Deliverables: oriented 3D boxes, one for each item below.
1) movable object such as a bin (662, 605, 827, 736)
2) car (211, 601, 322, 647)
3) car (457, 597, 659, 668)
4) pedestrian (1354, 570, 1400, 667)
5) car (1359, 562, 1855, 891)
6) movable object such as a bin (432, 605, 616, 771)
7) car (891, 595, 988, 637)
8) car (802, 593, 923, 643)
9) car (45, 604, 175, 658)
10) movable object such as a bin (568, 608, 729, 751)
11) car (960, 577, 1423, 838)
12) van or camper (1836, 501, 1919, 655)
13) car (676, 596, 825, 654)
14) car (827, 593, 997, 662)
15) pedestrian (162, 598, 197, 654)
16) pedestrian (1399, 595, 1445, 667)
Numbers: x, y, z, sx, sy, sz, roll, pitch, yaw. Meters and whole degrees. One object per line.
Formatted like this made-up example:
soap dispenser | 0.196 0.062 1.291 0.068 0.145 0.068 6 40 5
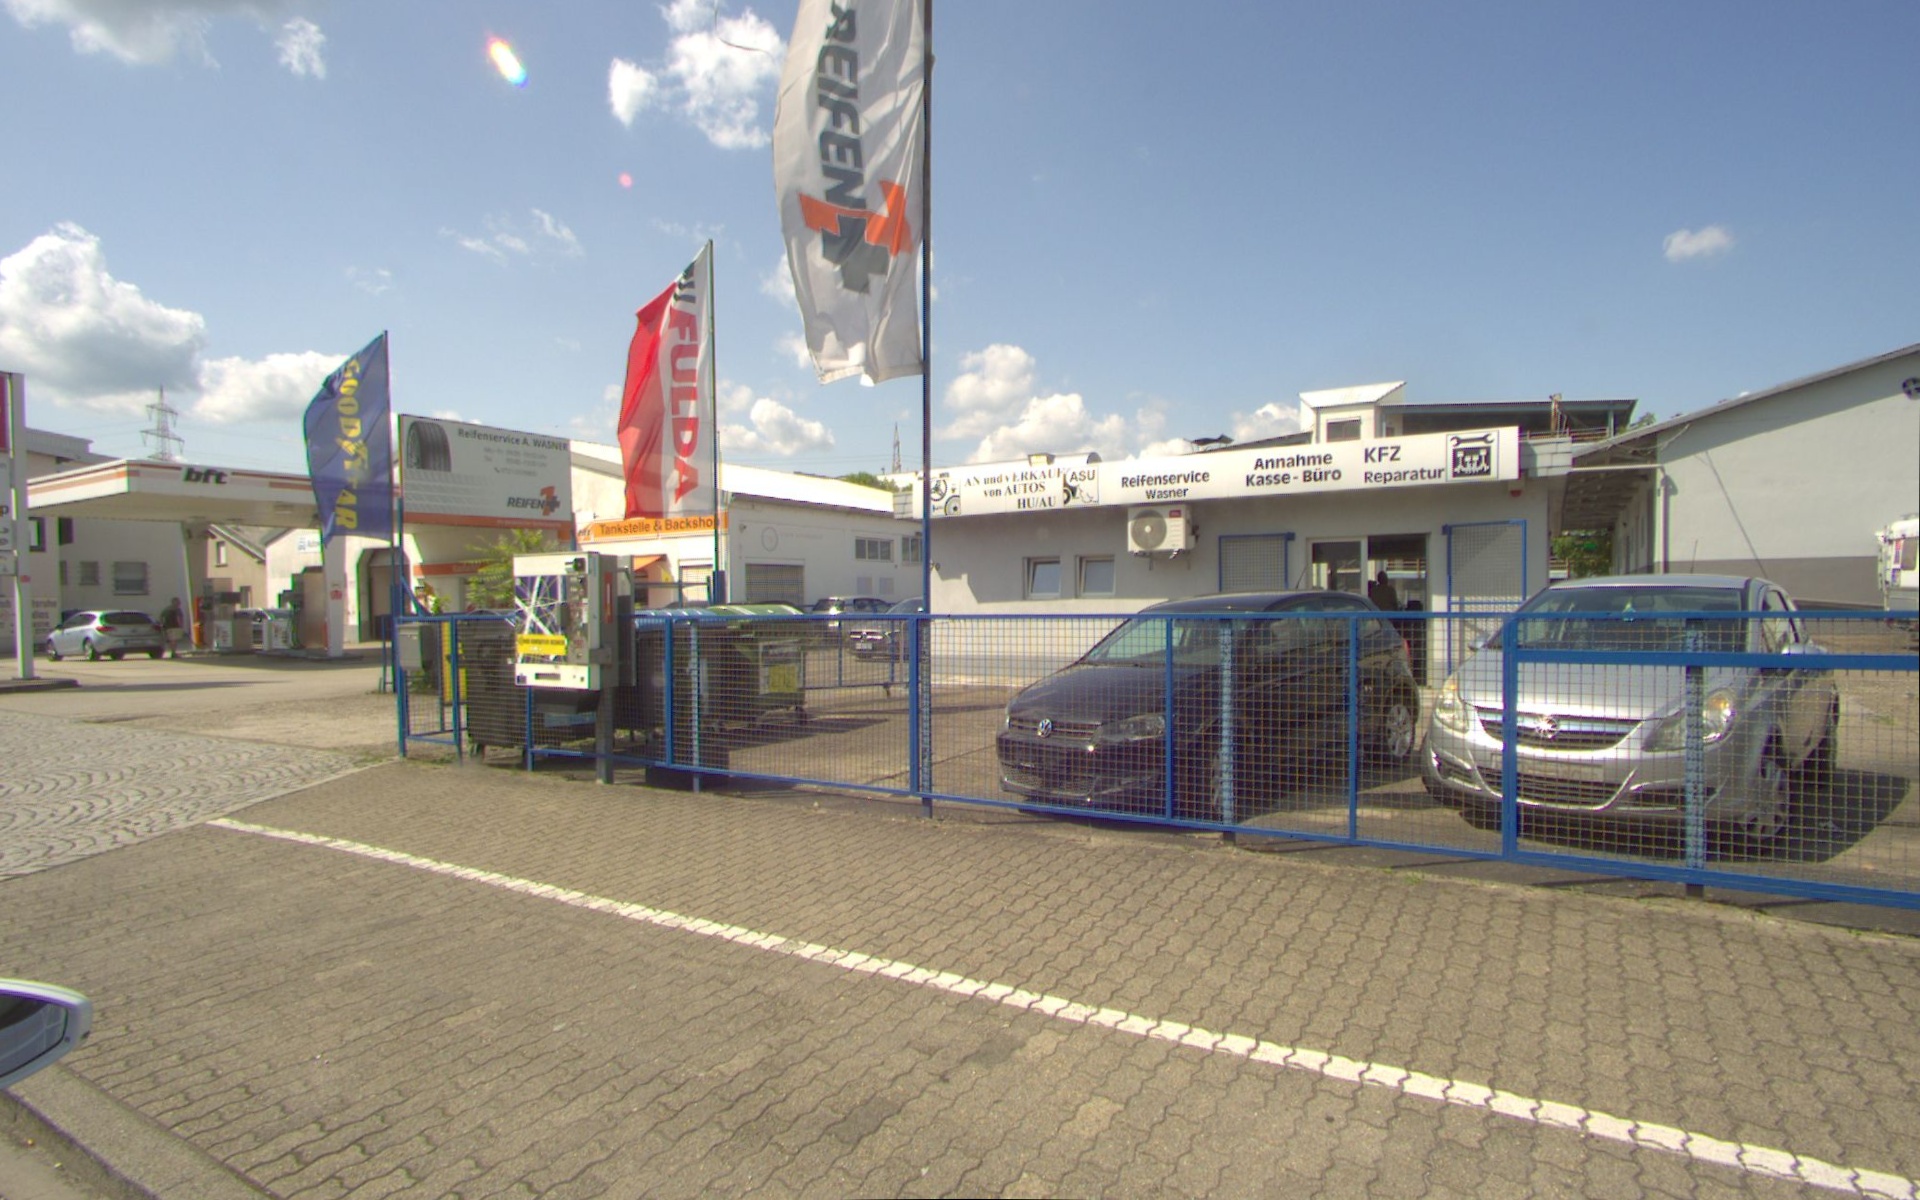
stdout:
movable object such as a bin | -2.538 0.780 11.904 1.318 1.414 1.400 0 1 31
car | -24.400 0.816 35.205 3.777 1.523 1.803 -1 0 31
car | -9.170 0.685 23.165 1.564 1.482 4.187 0 0 33
pedestrian | 7.347 0.316 17.647 0.654 1.671 0.563 0 1 34
car | 4.267 0.558 6.382 3.729 1.472 1.757 -1 0 -42
movable object such as a bin | -4.164 0.783 9.609 1.225 1.455 1.106 0 1 31
car | -0.676 0.532 35.689 1.564 1.385 3.860 0 0 33
car | -3.040 0.524 32.020 1.564 1.482 4.187 0 0 33
car | -25.741 0.898 30.309 3.776 1.523 1.803 -1 0 30
movable object such as a bin | -3.332 0.799 10.740 1.225 1.415 1.106 0 1 31
car | 1.884 0.599 7.495 3.655 1.472 1.625 -1 0 -43
van or camper | 21.010 -0.456 19.530 5.571 3.005 2.264 0 1 31
car | -5.722 0.639 27.821 1.564 1.482 4.187 0 0 33
car | -0.992 0.566 23.113 1.652 1.434 4.259 0 1 35
pedestrian | -23.780 0.798 30.518 0.698 1.679 0.546 -1 1 -22
pedestrian | 8.042 0.530 17.440 0.654 1.225 0.563 0 1 34
